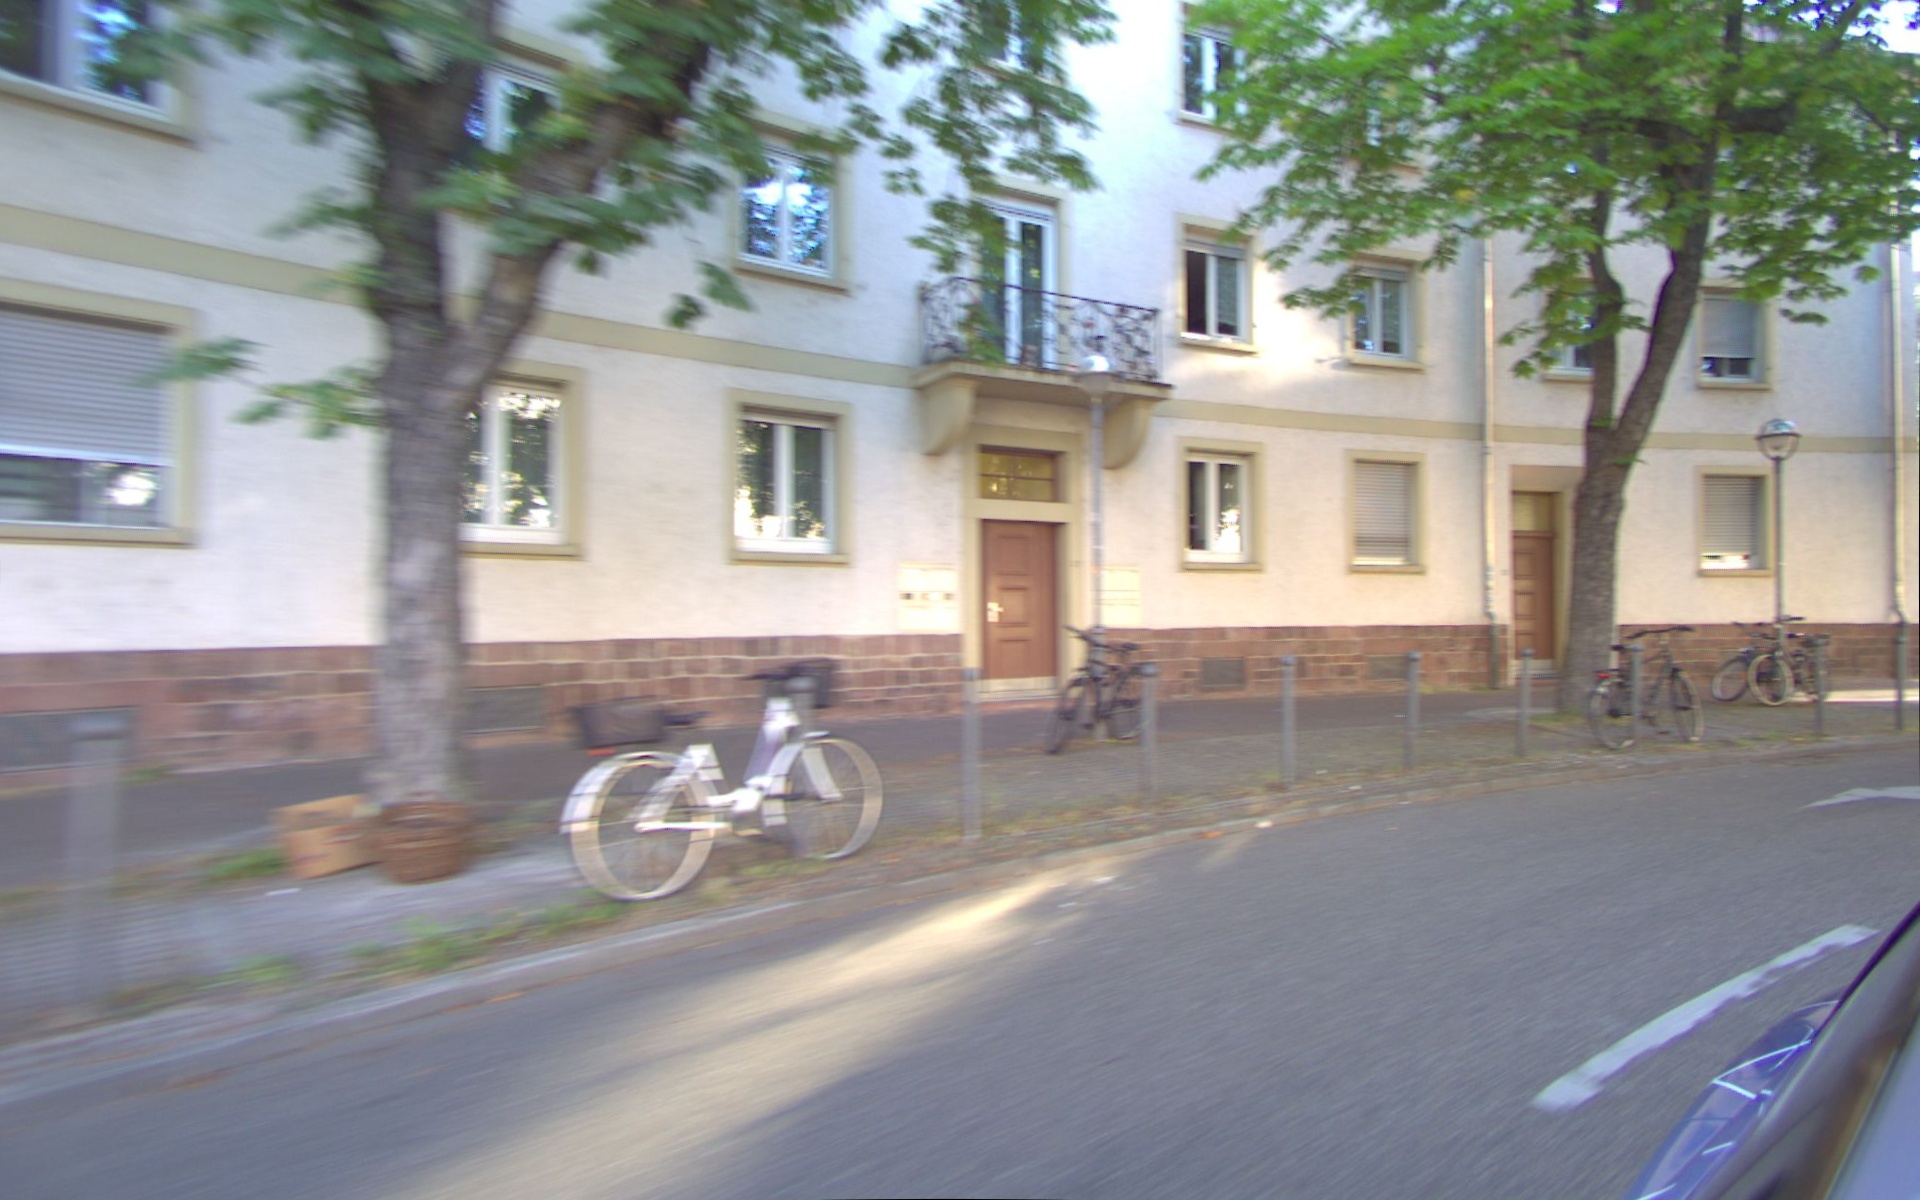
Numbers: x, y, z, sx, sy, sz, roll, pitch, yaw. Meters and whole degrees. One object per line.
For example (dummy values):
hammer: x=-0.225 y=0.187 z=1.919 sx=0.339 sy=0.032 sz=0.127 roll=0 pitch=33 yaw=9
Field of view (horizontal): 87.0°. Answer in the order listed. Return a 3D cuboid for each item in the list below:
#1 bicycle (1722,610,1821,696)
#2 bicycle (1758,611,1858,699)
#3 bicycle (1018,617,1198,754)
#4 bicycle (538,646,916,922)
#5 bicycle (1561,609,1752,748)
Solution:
bicycle: x=10.963 y=0.700 z=13.661 sx=1.602 sy=1.108 sz=0.335 roll=0 pitch=-1 yaw=-24
bicycle: x=11.256 y=0.707 z=13.417 sx=1.602 sy=1.108 sz=0.335 roll=0 pitch=-1 yaw=-24
bicycle: x=1.425 y=0.738 z=9.512 sx=0.799 sy=1.133 sz=1.830 roll=-1 pitch=-1 yaw=42
bicycle: x=-1.130 y=0.846 z=5.294 sx=1.941 sy=1.109 sz=0.513 roll=0 pitch=1 yaw=-44
bicycle: x=6.811 y=0.717 z=9.887 sx=1.875 sy=1.238 sz=0.721 roll=0 pitch=0 yaw=-27
